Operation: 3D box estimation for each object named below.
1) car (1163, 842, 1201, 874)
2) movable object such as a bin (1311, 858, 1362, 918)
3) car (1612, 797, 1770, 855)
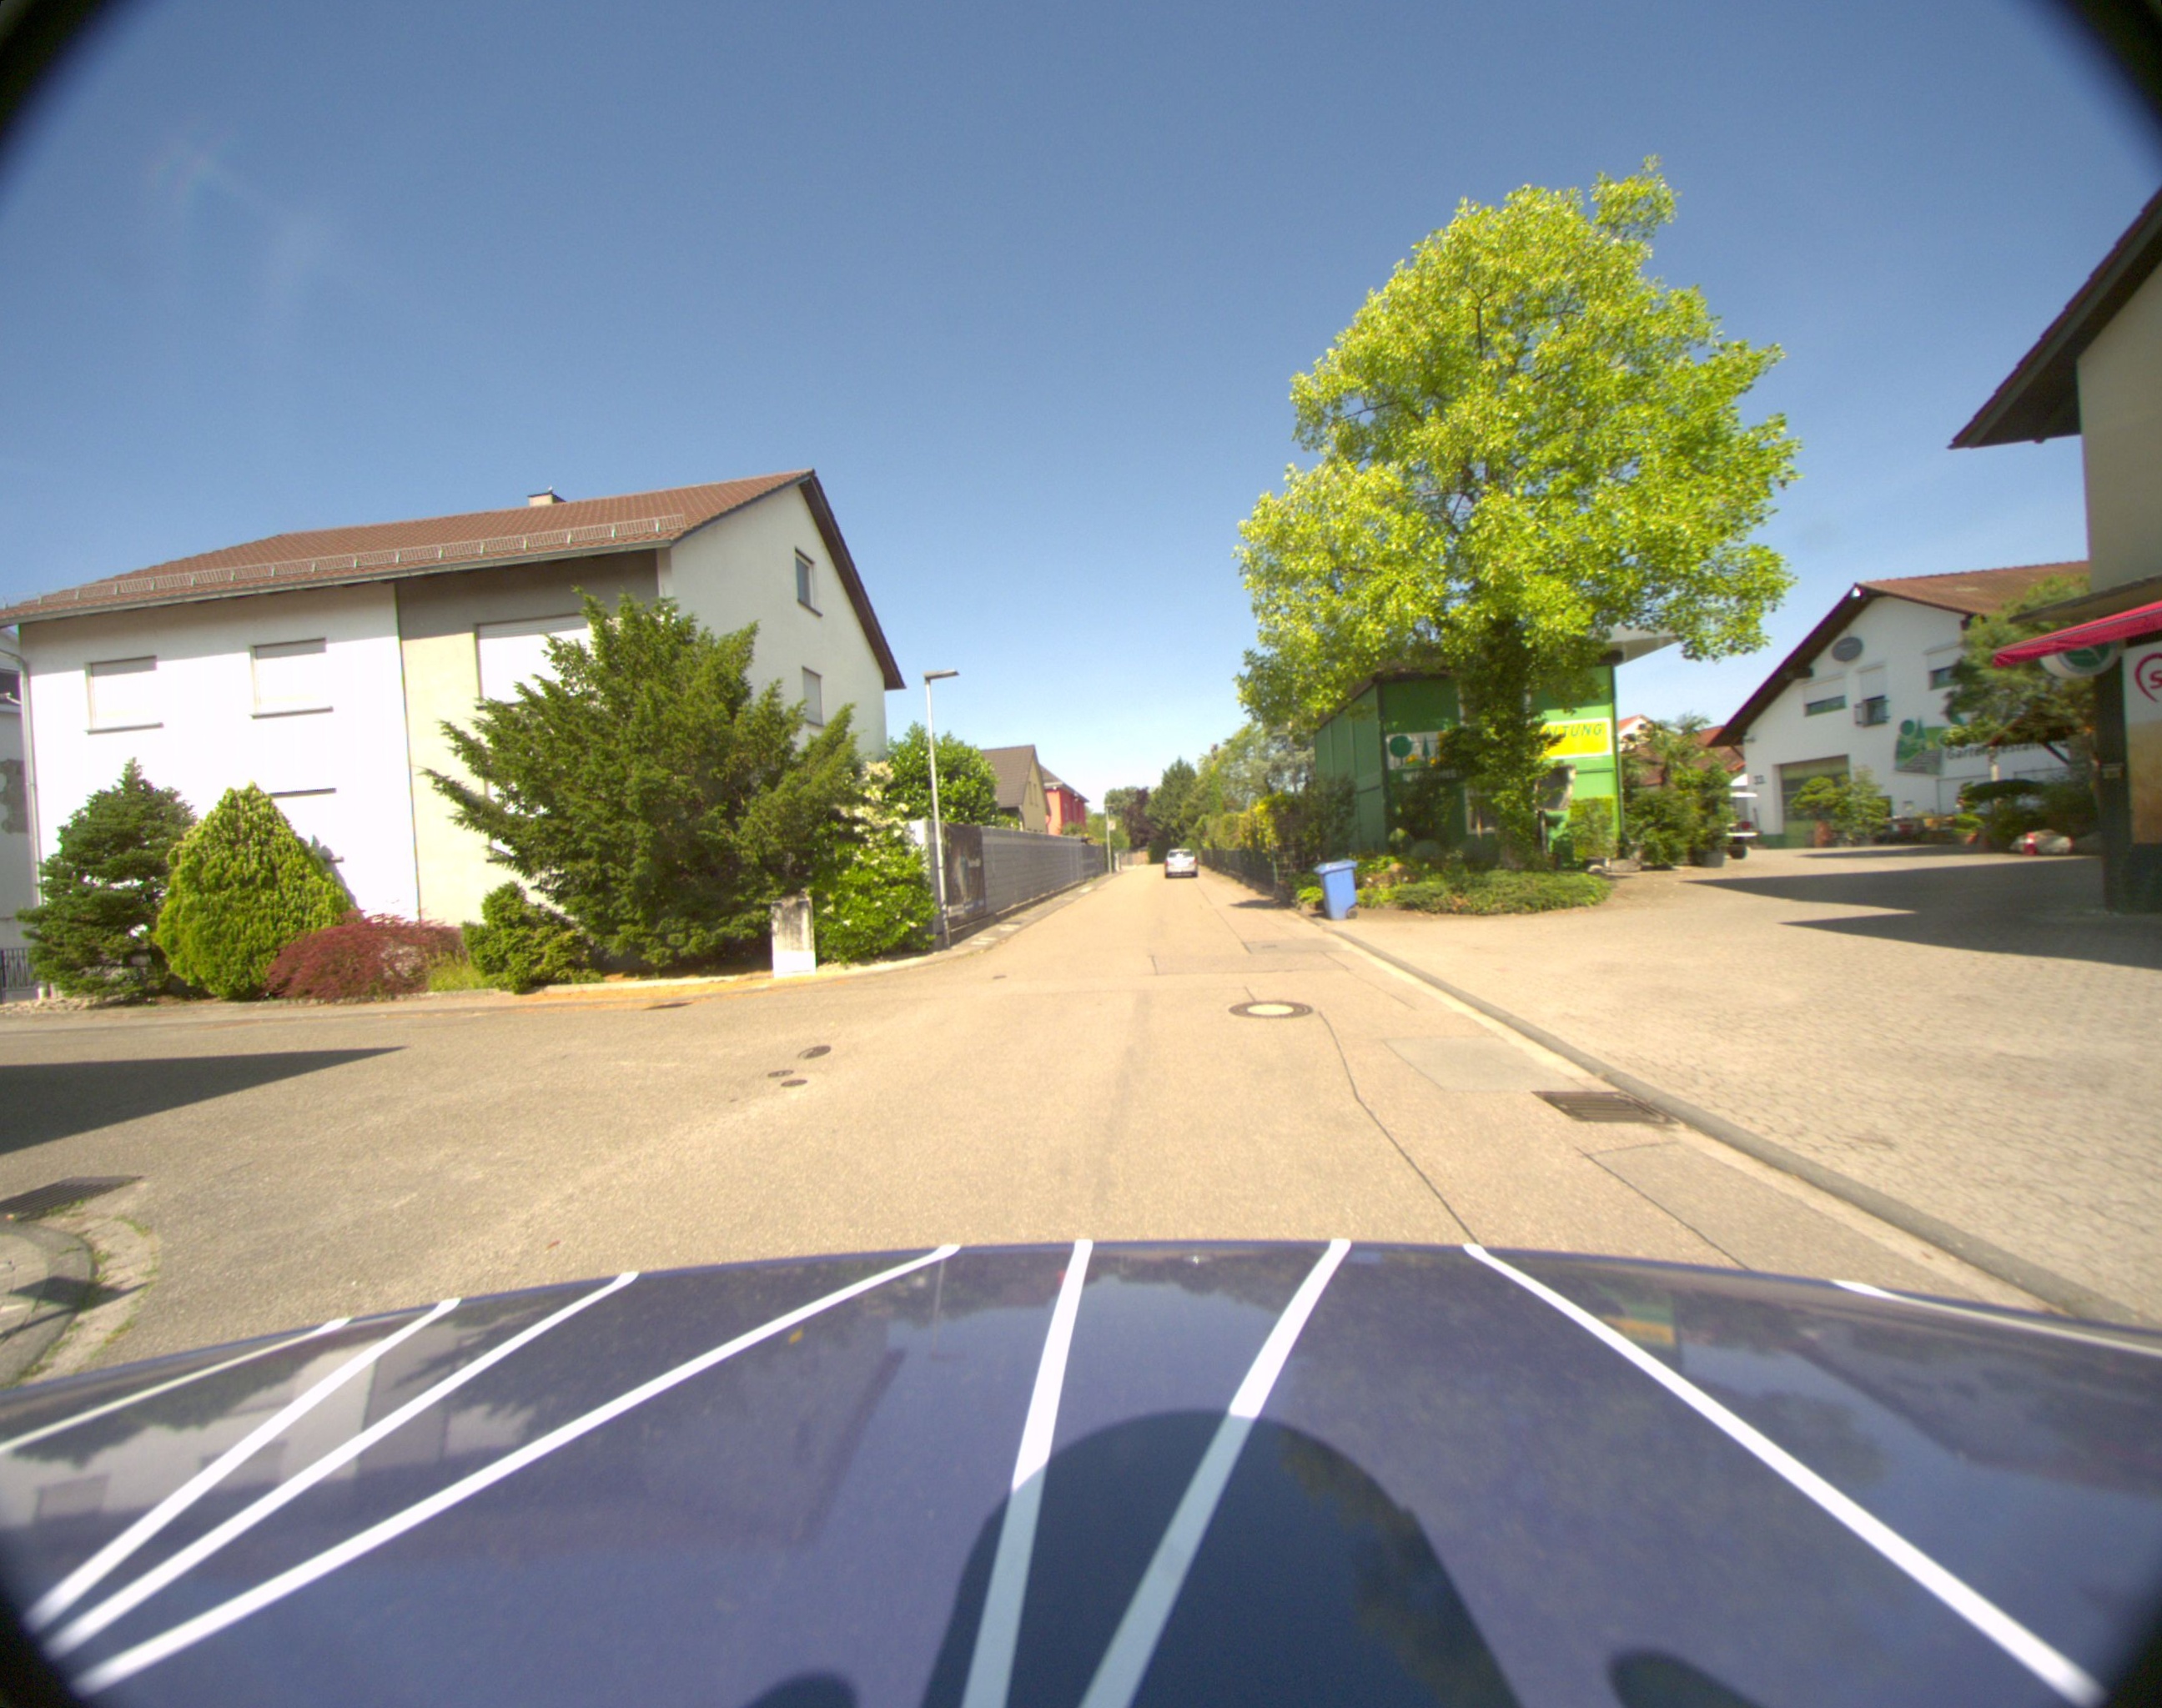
[{"bbox_3d":[5.310,0.196,40.298,1.756,1.478,4.377,-4,0,7],"label":"car"},{"bbox_3d":[4.841,0.637,14.447,0.732,1.048,0.612,-5,0,7],"label":"movable object such as a bin"},{"bbox_3d":[18.491,-0.822,23.307,1.860,1.439,4.001,-6,1,7],"label":"car"}]
